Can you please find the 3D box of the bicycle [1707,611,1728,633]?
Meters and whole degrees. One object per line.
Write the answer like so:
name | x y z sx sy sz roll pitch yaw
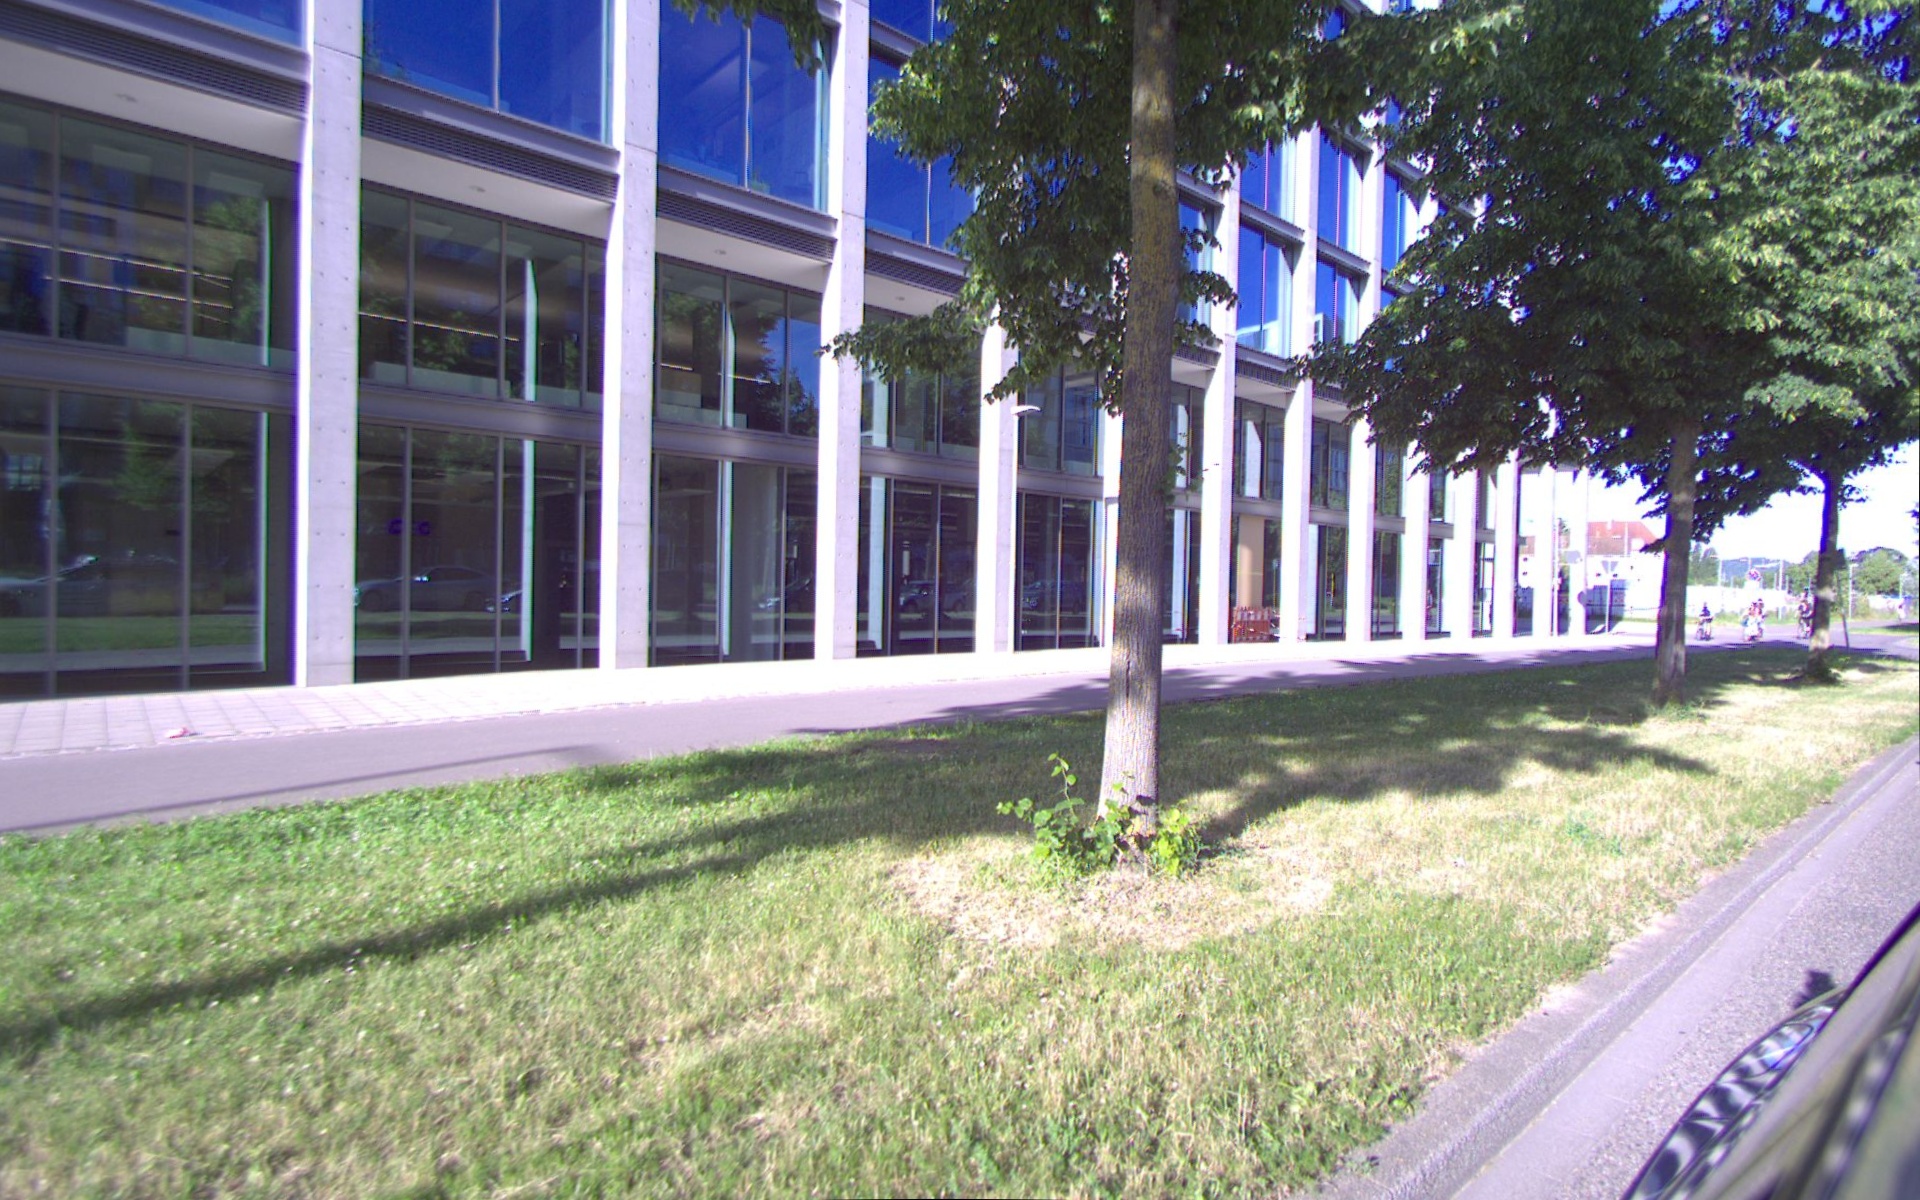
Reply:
bicycle | 30.542 0.884 40.791 1.297 0.828 0.414 -1 1 -41

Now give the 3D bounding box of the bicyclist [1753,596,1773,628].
bicyclist | 31.737 0.465 40.010 0.499 1.232 0.534 0 0 -40

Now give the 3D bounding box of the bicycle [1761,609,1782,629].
bicycle | 34.677 0.813 43.258 1.321 0.828 0.464 -1 1 -41

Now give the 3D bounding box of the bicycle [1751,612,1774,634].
bicycle | 31.696 0.897 39.960 1.321 0.828 0.464 -1 1 -41

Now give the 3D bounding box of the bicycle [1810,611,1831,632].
bicycle | 35.798 0.874 42.101 1.321 0.828 0.464 -1 1 -41

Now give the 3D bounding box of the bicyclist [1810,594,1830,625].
bicyclist | 35.858 0.393 42.197 0.512 1.305 0.534 0 0 -40

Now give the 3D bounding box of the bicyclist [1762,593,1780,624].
bicyclist | 34.659 0.376 43.255 0.449 1.305 0.534 0 0 -40

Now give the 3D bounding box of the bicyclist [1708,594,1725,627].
bicyclist | 30.417 0.418 40.689 0.410 1.305 0.448 0 0 -40
